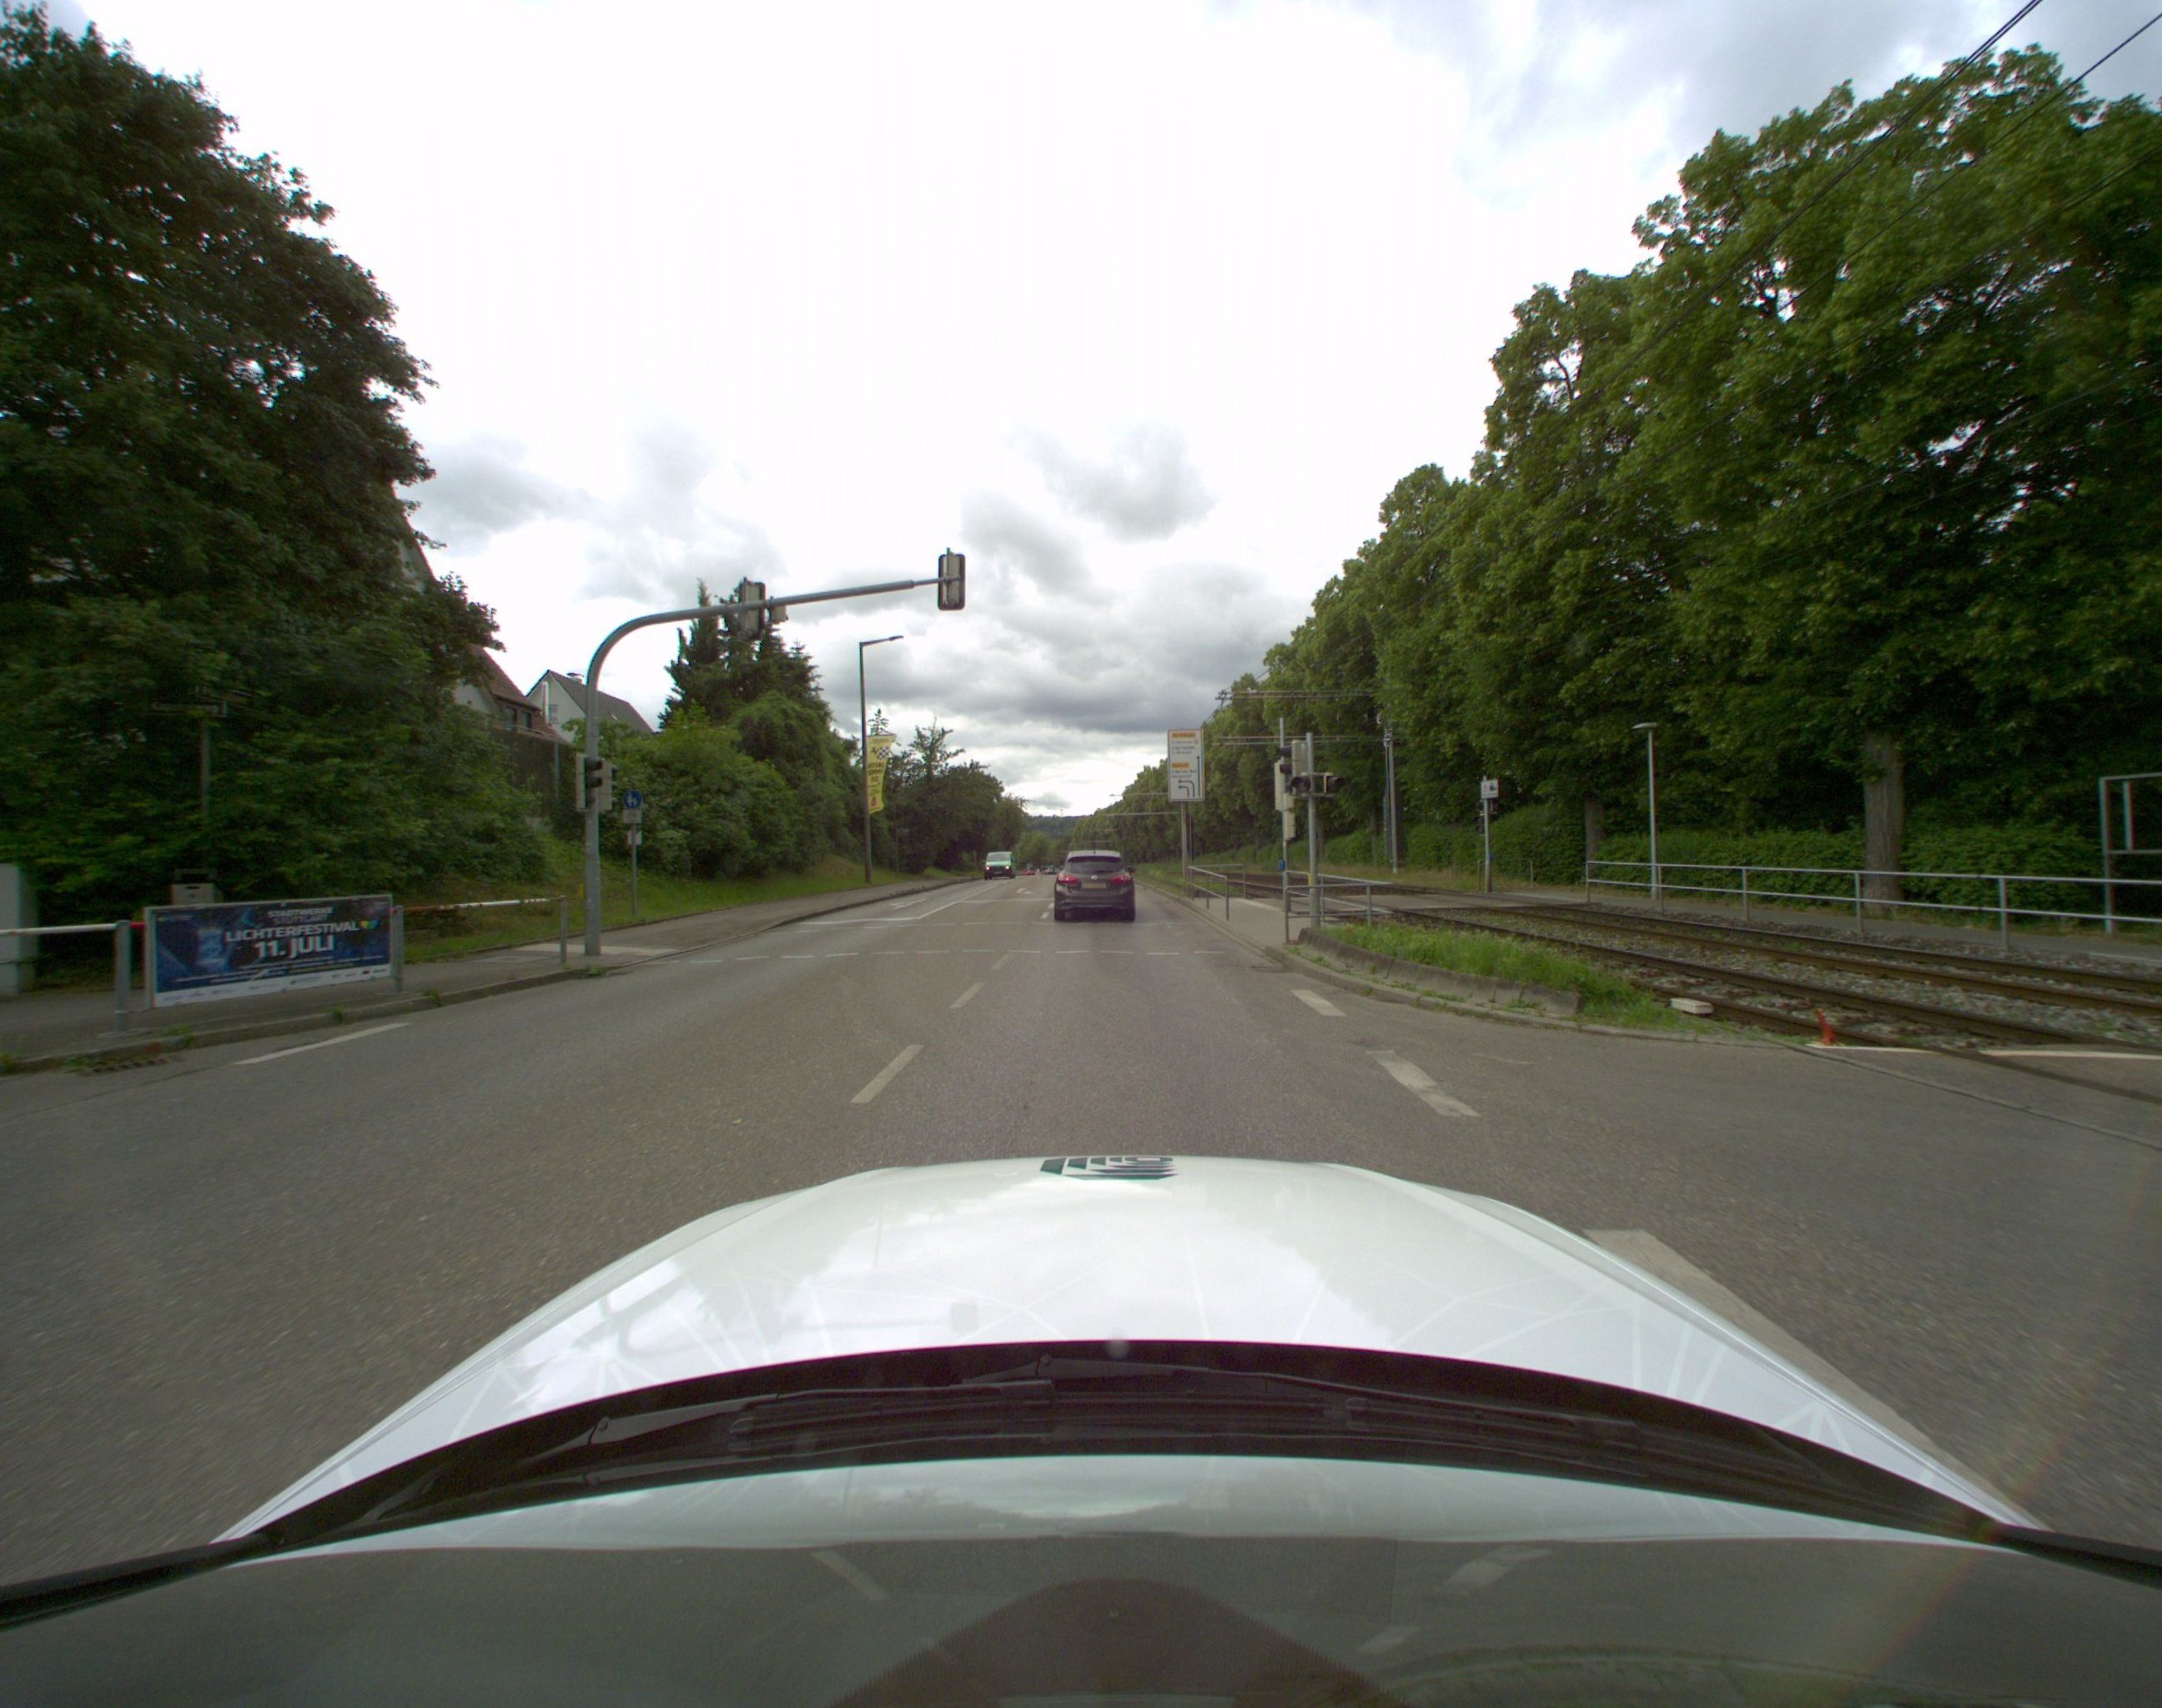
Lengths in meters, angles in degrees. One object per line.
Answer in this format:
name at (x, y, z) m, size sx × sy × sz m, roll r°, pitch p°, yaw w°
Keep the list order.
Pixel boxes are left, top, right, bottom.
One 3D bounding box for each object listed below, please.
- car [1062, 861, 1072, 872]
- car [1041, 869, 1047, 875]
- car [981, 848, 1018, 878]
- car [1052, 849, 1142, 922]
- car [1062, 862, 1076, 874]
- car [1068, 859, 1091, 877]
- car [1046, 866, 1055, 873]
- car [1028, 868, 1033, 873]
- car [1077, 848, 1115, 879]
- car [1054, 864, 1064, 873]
car at (-2.373, 2.154, 136.980) m, size 1.696 × 1.714 × 3.995 m, roll 0°, pitch -2°, yaw -3°
car at (-10.172, 4.918, 225.113) m, size 1.696 × 1.714 × 3.995 m, roll 0°, pitch -2°, yaw -3°
car at (-5.536, 0.587, 55.758) m, size 2.052 × 1.810 × 4.727 m, roll -3°, pitch 0°, yaw -1°
car at (0.348, 0.639, 19.017) m, size 1.844 × 1.493 × 4.000 m, roll 1°, pitch 0°, yaw 0°
car at (-1.513, 1.763, 103.599) m, size 1.696 × 1.444 × 3.995 m, roll 0°, pitch -2°, yaw -3°
car at (-0.146, 1.166, 68.252) m, size 1.696 × 1.444 × 3.995 m, roll 0°, pitch -2°, yaw -3°
car at (-6.604, 3.287, 174.578) m, size 1.790 × 1.510 × 3.995 m, roll 0°, pitch -2°, yaw -3°
car at (-16.199, 5.245, 260.180) m, size 1.696 × 1.714 × 3.995 m, roll 0°, pitch -2°, yaw -3°
car at (0.684, 0.516, 39.830) m, size 1.695 × 1.444 × 3.996 m, roll 0°, pitch -2°, yaw -2°
car at (-4.087, 2.783, 154.107) m, size 1.790 × 1.510 × 3.995 m, roll 0°, pitch -2°, yaw -3°
